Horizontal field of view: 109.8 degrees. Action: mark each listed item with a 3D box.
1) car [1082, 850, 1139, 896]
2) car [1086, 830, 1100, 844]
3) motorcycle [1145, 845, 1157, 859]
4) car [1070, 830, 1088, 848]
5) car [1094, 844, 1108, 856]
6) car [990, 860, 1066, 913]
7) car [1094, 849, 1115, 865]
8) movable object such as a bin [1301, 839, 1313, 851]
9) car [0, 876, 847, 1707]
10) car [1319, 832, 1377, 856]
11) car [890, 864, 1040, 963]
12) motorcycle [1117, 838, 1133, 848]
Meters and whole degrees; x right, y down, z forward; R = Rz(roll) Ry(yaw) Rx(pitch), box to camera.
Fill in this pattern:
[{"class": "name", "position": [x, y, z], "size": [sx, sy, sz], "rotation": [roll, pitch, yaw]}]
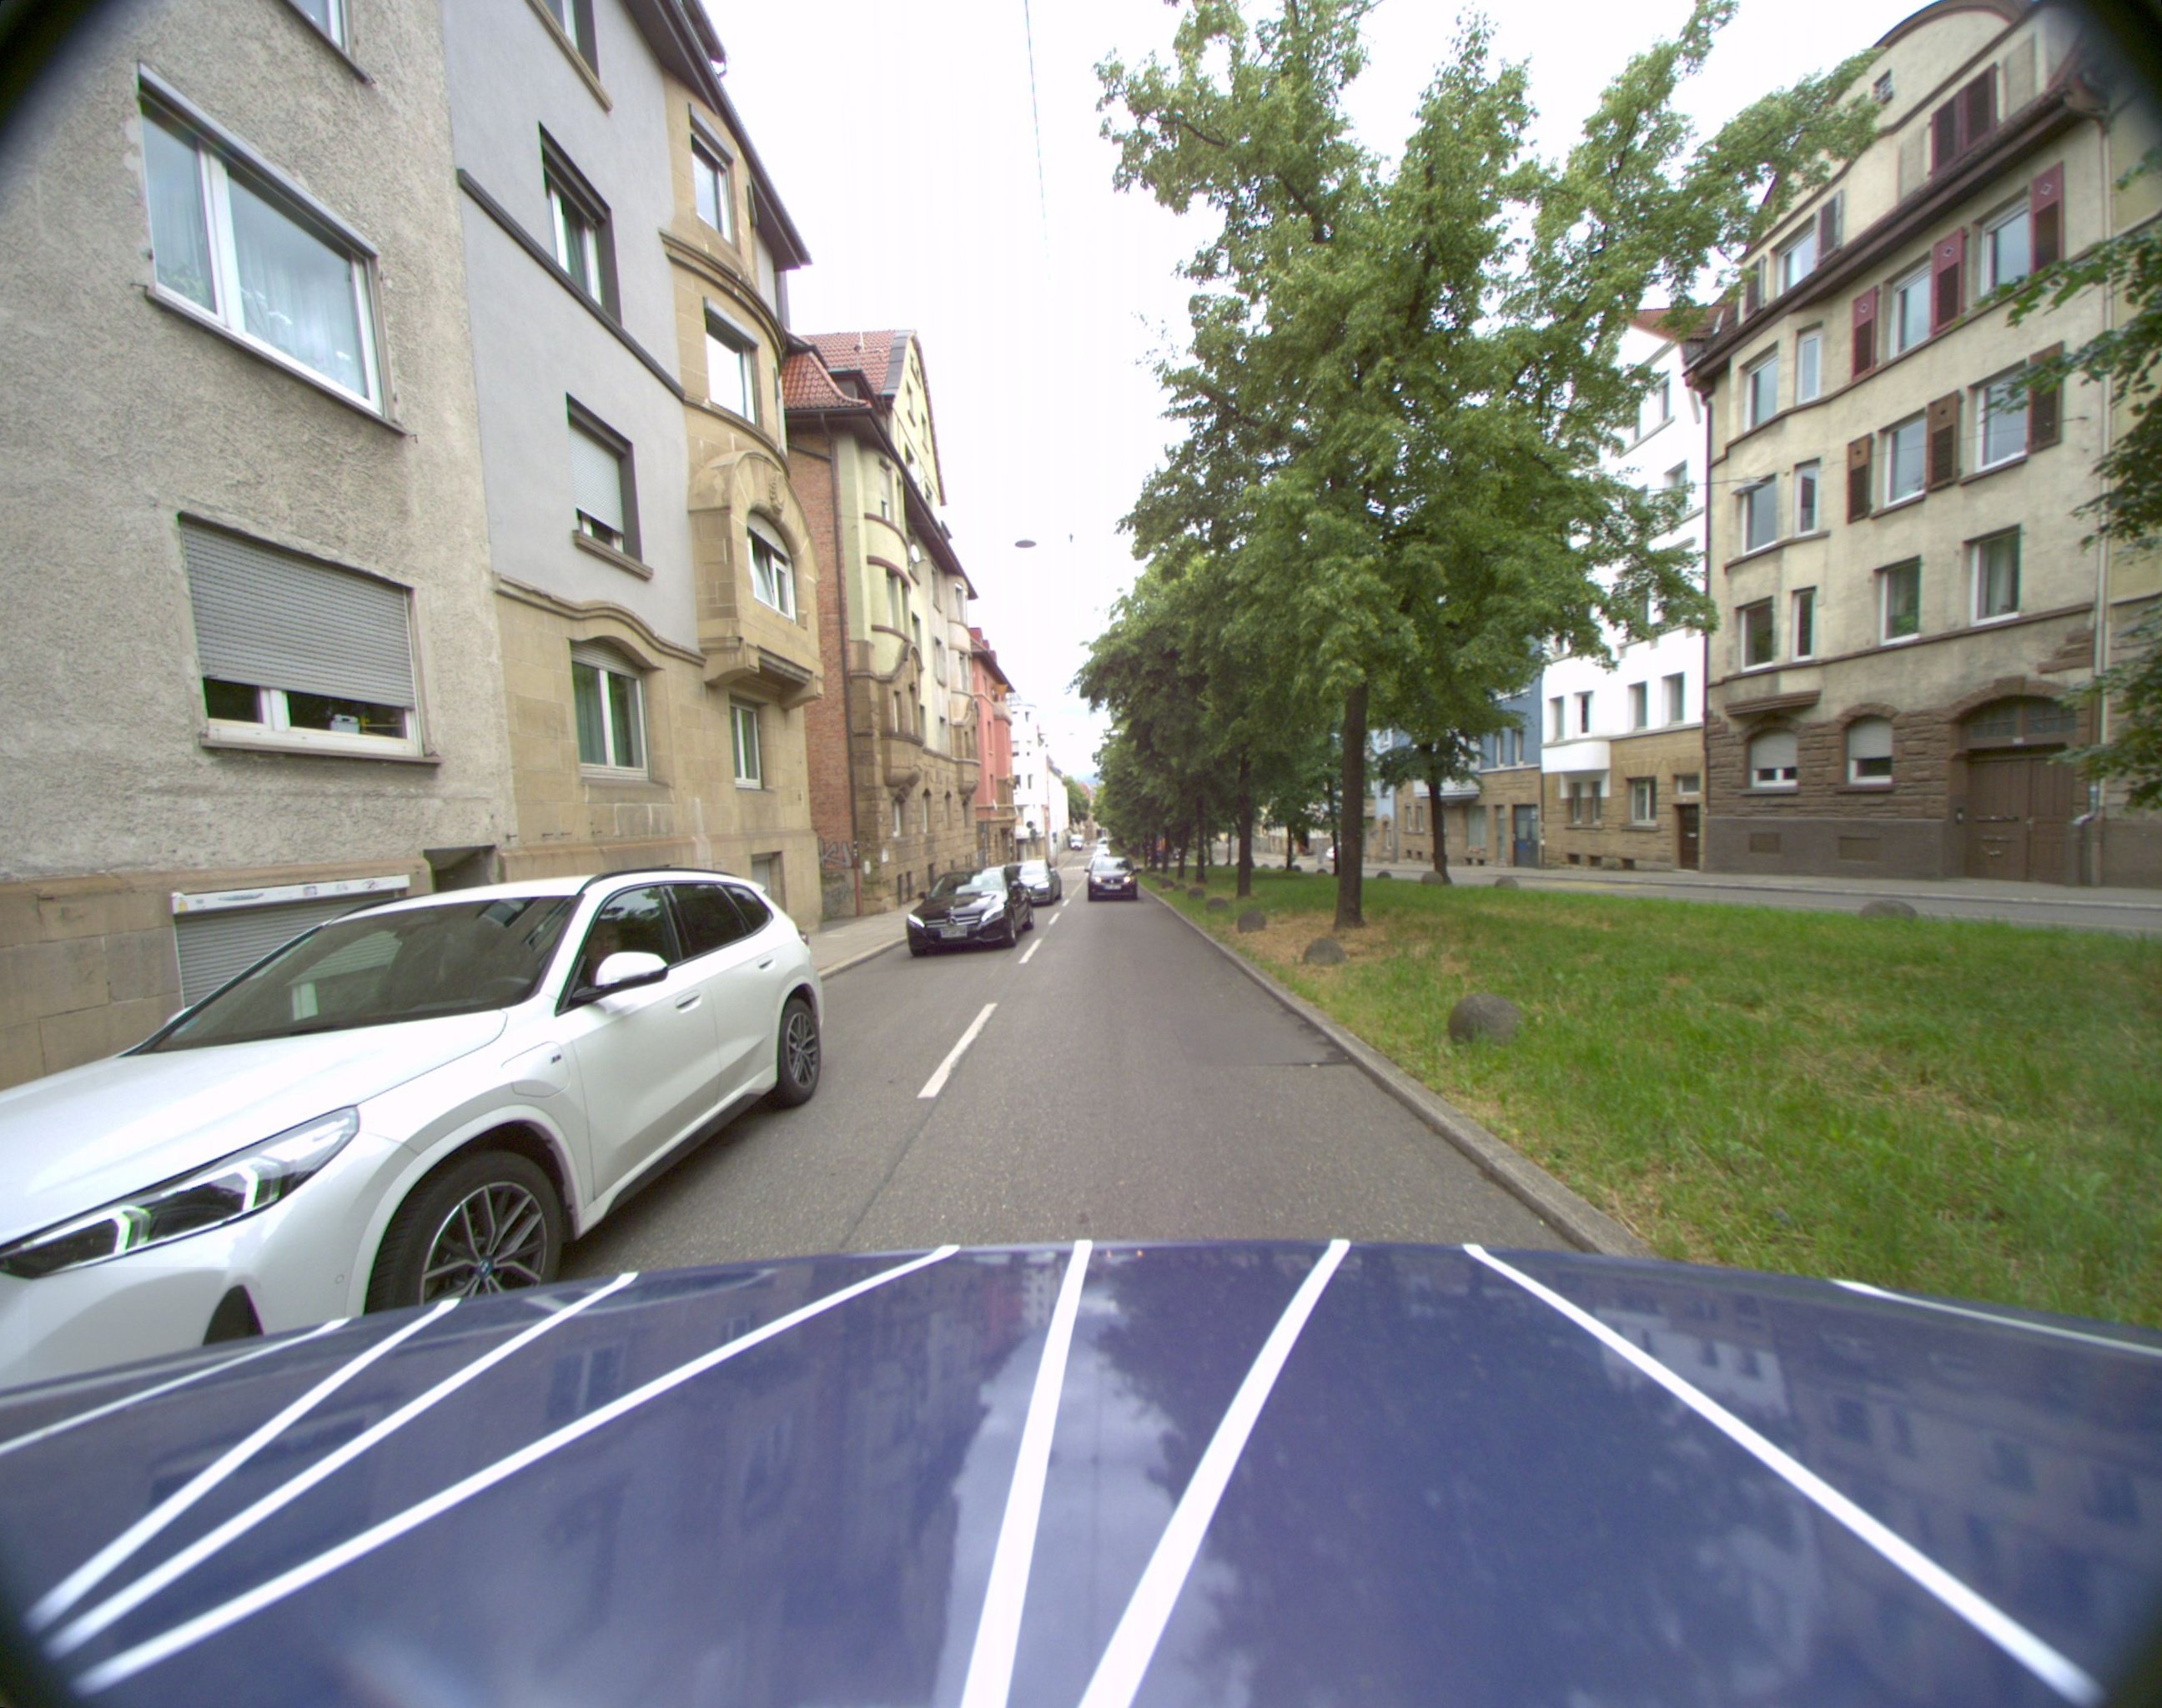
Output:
[{"class": "car", "position": [1.012, 0.606, 26.108], "size": [1.783, 1.420, 4.281], "rotation": [-1, 0, 2]}, {"class": "car", "position": [2.879, -4.106, 182.549], "size": [3.025, 3.045, 7.166], "rotation": [-2, 2, 1]}, {"class": "motorcycle", "position": [6.546, -0.220, 70.660], "size": [0.888, 1.090, 2.481], "rotation": [-3, 3, 9]}, {"class": "car", "position": [-0.322, -2.837, 138.667], "size": [3.025, 3.045, 7.166], "rotation": [-2, 2, 1]}, {"class": "car", "position": [2.539, -0.465, 96.368], "size": [1.783, 1.420, 4.281], "rotation": [-1, 0, 2]}, {"class": "car", "position": [-1.627, 0.987, 24.831], "size": [1.854, 1.360, 4.282], "rotation": [-6, 0, 3]}, {"class": "car", "position": [2.062, 0.255, 67.215], "size": [1.783, 1.420, 4.281], "rotation": [-1, 0, 2]}, {"class": "movable object such as a bin", "position": [21.017, -0.830, 70.656], "size": [0.887, 0.988, 0.668], "rotation": [-5, 2, 0]}, {"class": "car", "position": [-2.805, 1.067, 3.494], "size": [1.854, 1.595, 4.563], "rotation": [-7, 0, 0]}, {"class": "car", "position": [22.210, -0.830, 63.248], "size": [4.007, 1.462, 1.870], "rotation": [-7, 3, -1]}, {"class": "car", "position": [-1.993, 0.993, 14.426], "size": [1.854, 1.360, 4.282], "rotation": [-6, 0, 3]}, {"class": "motorcycle", "position": [5.668, -1.427, 98.512], "size": [2.040, 1.126, 0.454], "rotation": [-3, 4, 2]}]
